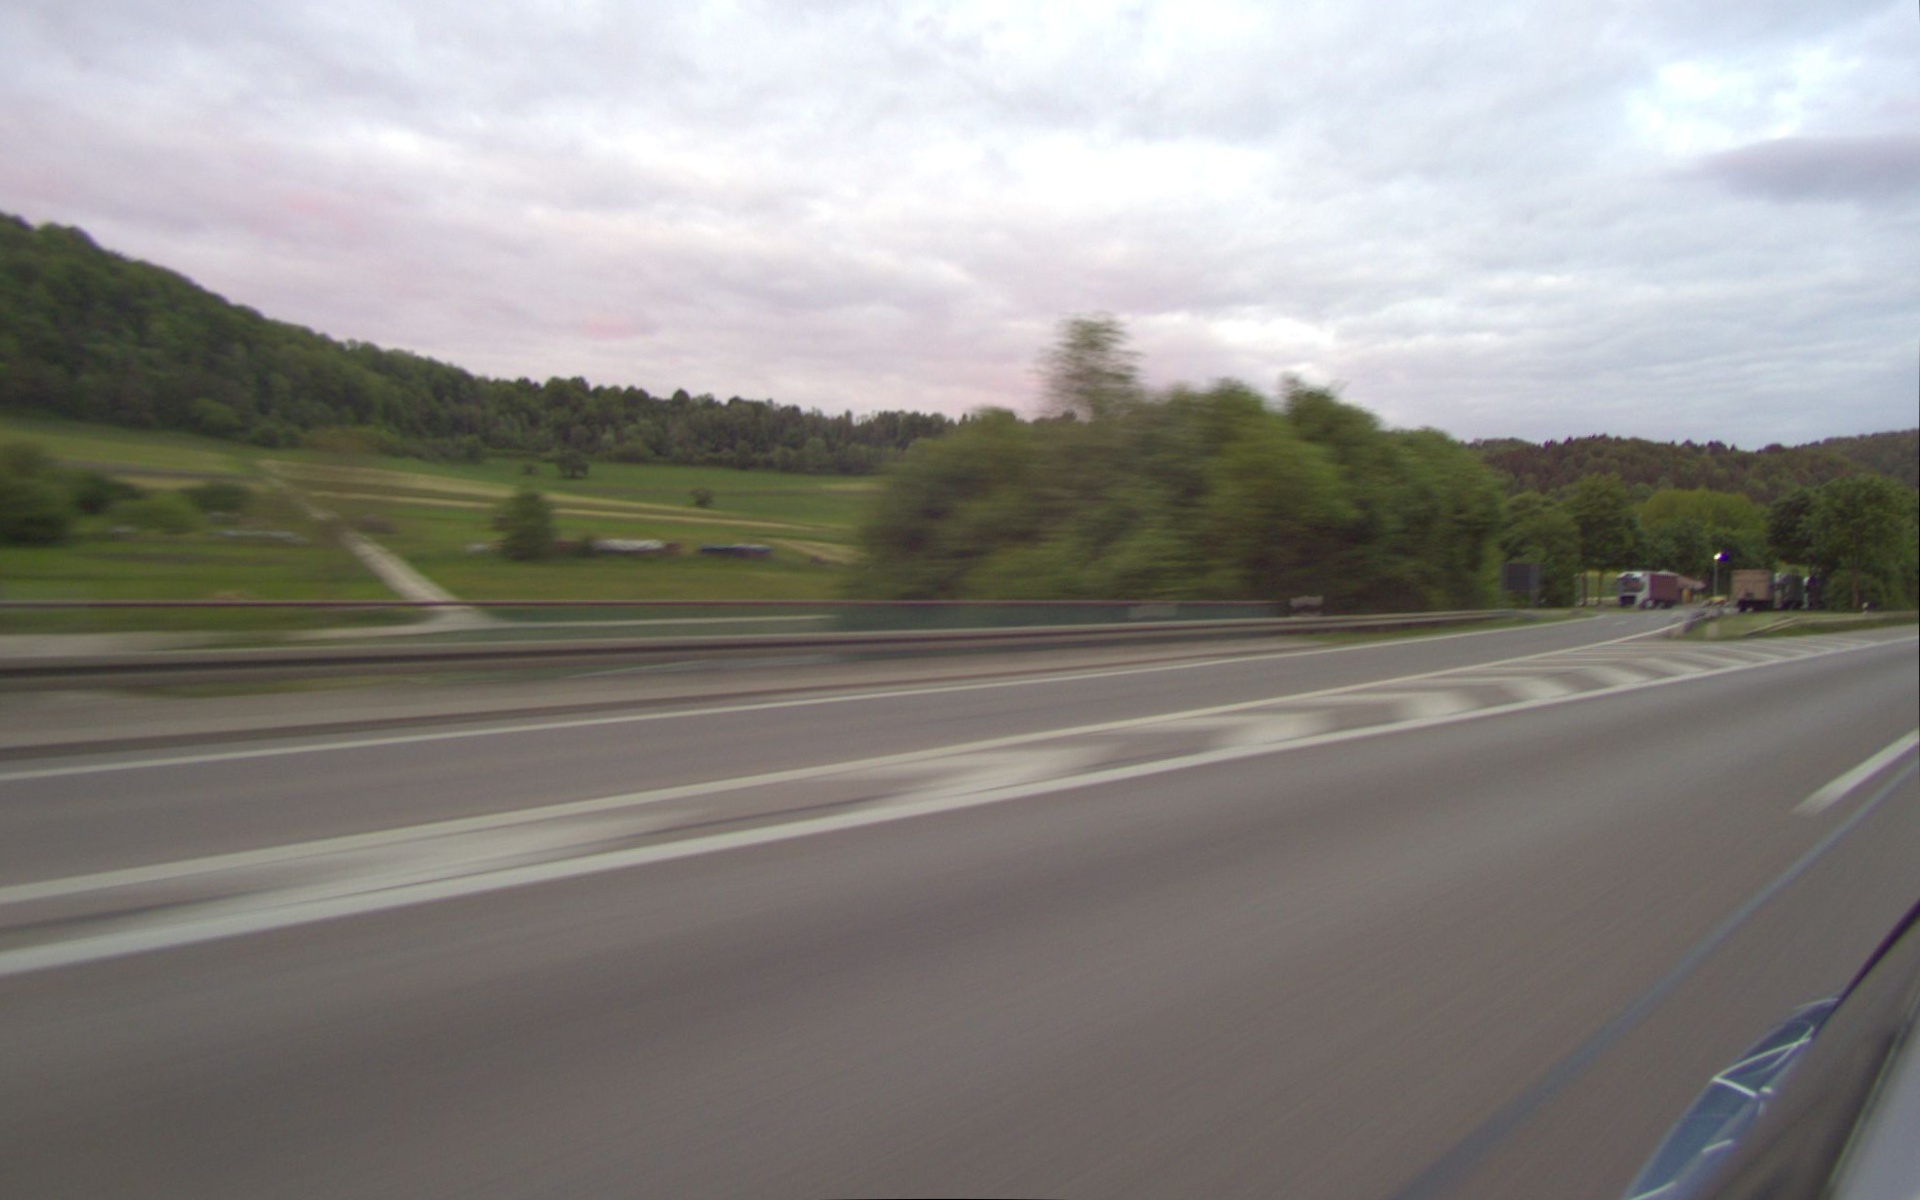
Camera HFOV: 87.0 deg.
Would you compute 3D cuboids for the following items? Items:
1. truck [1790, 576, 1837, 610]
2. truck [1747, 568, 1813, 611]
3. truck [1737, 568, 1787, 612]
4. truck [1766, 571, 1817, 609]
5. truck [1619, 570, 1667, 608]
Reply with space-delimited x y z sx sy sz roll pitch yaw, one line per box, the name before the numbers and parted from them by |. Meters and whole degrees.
truck | 107.916 -0.869 127.843 11.791 3.964 3.356 0 2 -44
truck | 90.028 -1.152 110.827 3.776 4.281 19.214 2 2 44
truck | 76.616 -0.931 96.555 2.838 3.964 11.804 2 2 43
truck | 96.814 -1.176 117.757 3.774 4.281 8.674 2 2 45
truck | 73.389 -1.177 108.654 6.277 3.965 2.842 0 2 -43
